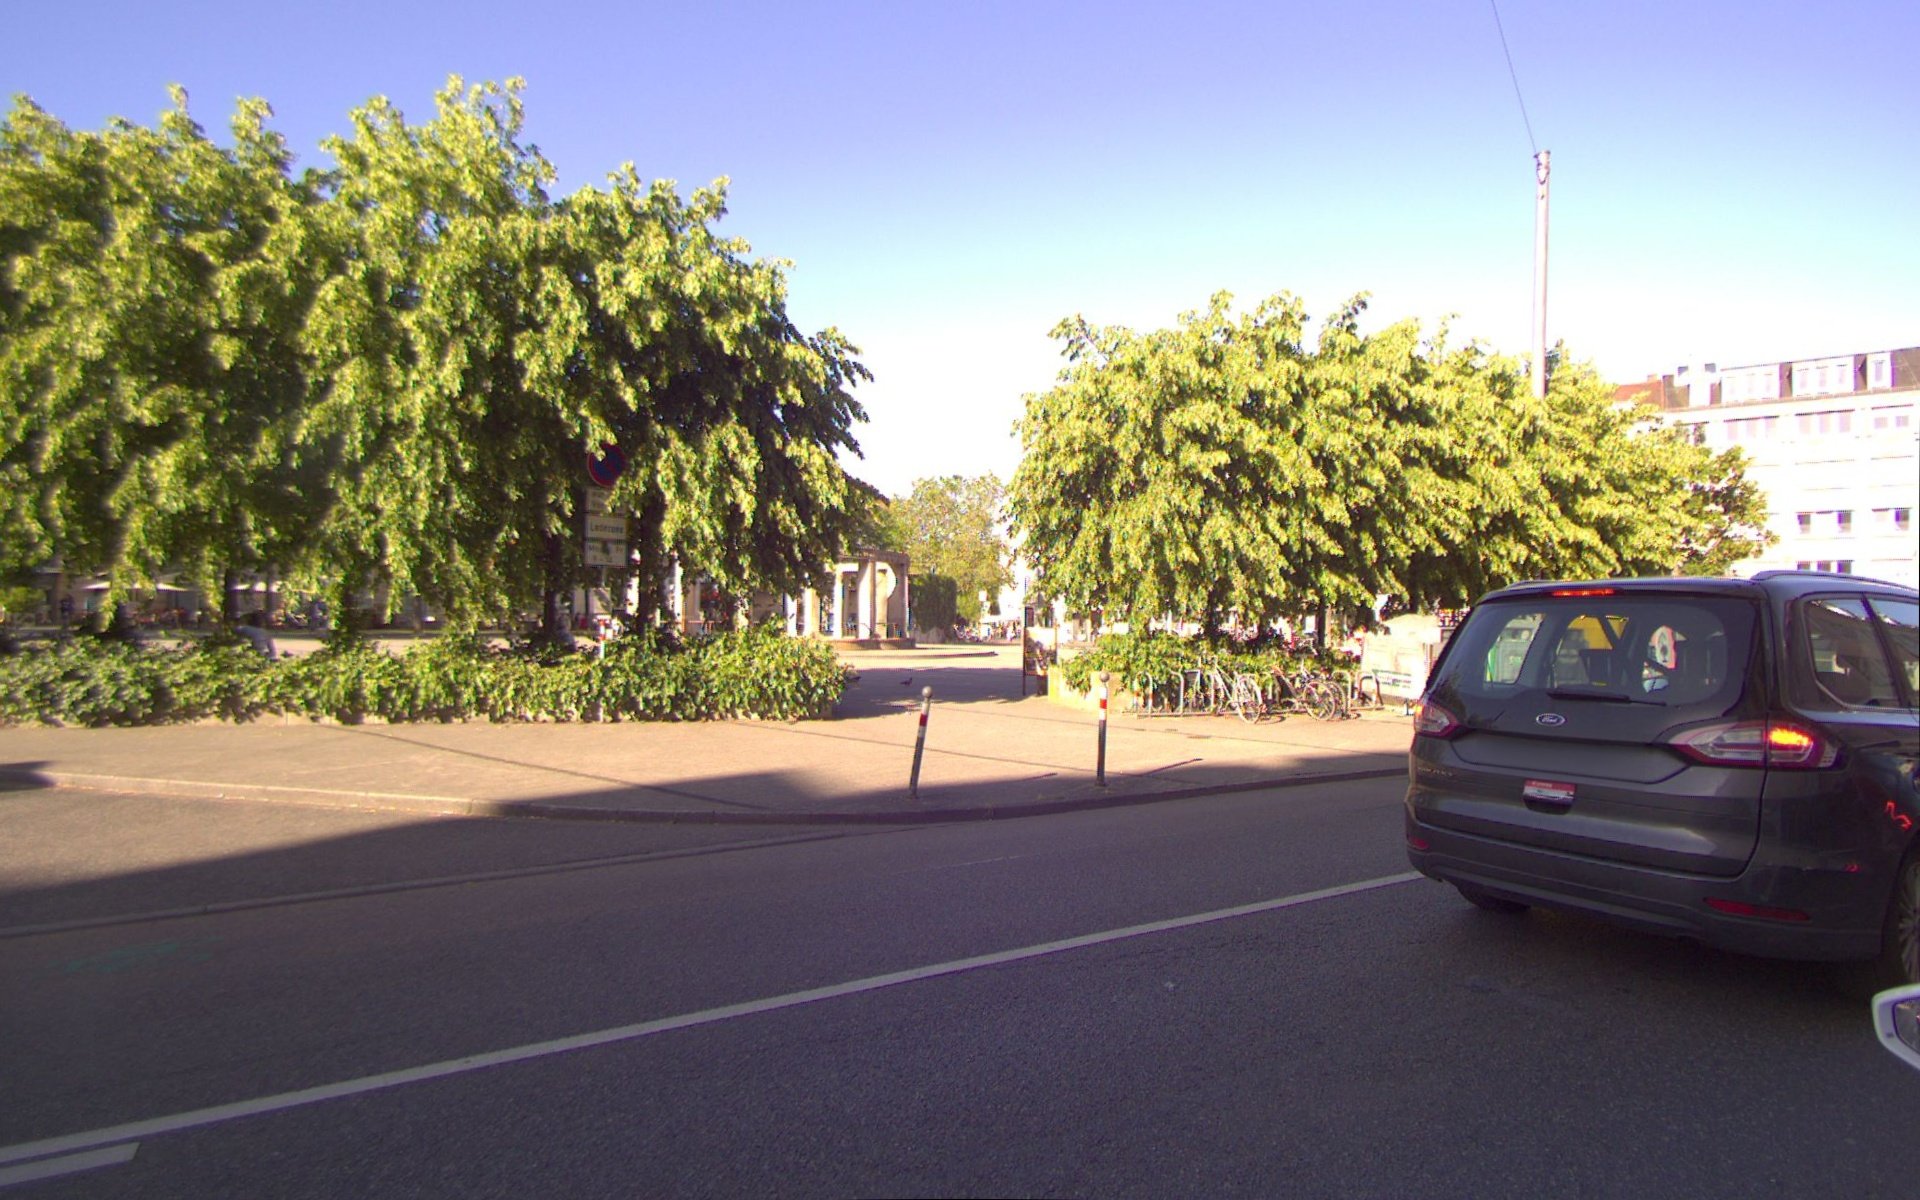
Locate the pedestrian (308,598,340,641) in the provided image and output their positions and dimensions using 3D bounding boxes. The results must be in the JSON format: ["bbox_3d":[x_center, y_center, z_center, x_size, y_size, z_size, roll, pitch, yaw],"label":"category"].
[{"bbox_3d":[-27.118,0.836,42.833,0.723,1.781,0.898,1,-1,28],"label":"pedestrian"}]

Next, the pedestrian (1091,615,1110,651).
[{"bbox_3d":[8.187,1.899,58.611,0.912,2.040,1.185,1,-1,0],"label":"pedestrian"}]

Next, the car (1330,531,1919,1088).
[{"bbox_3d":[4.316,0.742,5.336,4.675,1.795,1.983,1,-2,-32],"label":"car"}]

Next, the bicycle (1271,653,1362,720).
[{"bbox_3d":[5.809,1.387,16.450,0.425,0.971,1.518,0,0,-28],"label":"bicycle"}]

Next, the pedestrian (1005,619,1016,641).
[{"bbox_3d":[4.709,2.814,93.736,0.886,2.040,1.286,1,0,7],"label":"pedestrian"}]

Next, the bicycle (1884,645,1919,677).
[{"bbox_3d":[36.773,2.321,38.032,0.834,1.171,2.517,1,-1,-34],"label":"bicycle"}]

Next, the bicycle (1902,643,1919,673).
[{"bbox_3d":[38.698,2.309,39.510,0.834,1.171,2.308,1,-1,-34],"label":"bicycle"}]

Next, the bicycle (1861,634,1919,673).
[{"bbox_3d":[34.500,1.937,36.525,0.913,1.341,2.461,1,-1,-35],"label":"bicycle"}]

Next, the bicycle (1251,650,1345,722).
[{"bbox_3d":[5.406,1.351,16.131,0.425,1.036,1.561,1,-1,-28],"label":"bicycle"}]

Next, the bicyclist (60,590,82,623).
[{"bbox_3d":[-39.934,0.303,45.127,0.689,1.447,0.669,0,-1,45],"label":"bicyclist"}]

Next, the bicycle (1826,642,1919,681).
[{"bbox_3d":[30.924,2.051,33.871,0.833,1.171,2.493,1,-1,-31],"label":"bicycle"}]

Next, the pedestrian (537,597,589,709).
[{"bbox_3d":[-6.515,0.852,16.517,0.725,1.781,0.895,1,-1,-19],"label":"pedestrian"}]

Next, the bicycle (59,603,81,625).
[{"bbox_3d":[-39.933,0.633,45.064,1.881,0.966,0.585,-1,-2,44],"label":"bicycle"}]

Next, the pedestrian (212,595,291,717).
[{"bbox_3d":[-10.732,0.828,15.239,0.725,1.781,0.895,1,-1,-19],"label":"pedestrian"}]

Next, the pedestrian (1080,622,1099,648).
[{"bbox_3d":[10.179,2.739,78.868,1.252,2.040,1.285,1,-1,-4],"label":"pedestrian"}]

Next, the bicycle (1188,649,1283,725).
[{"bbox_3d":[4.237,1.318,15.548,0.425,1.031,1.590,1,0,-28],"label":"bicycle"}]

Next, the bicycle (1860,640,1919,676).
[{"bbox_3d":[33.140,2.031,35.035,0.833,1.171,2.449,1,-1,-31],"label":"bicycle"}]

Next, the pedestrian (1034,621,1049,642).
[{"bbox_3d":[8.184,3.163,100.758,1.252,2.040,1.285,1,-1,-4],"label":"pedestrian"}]

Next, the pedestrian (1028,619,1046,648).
[{"bbox_3d":[5.653,2.444,73.715,0.806,2.040,1.045,1,-1,-36],"label":"pedestrian"}]
